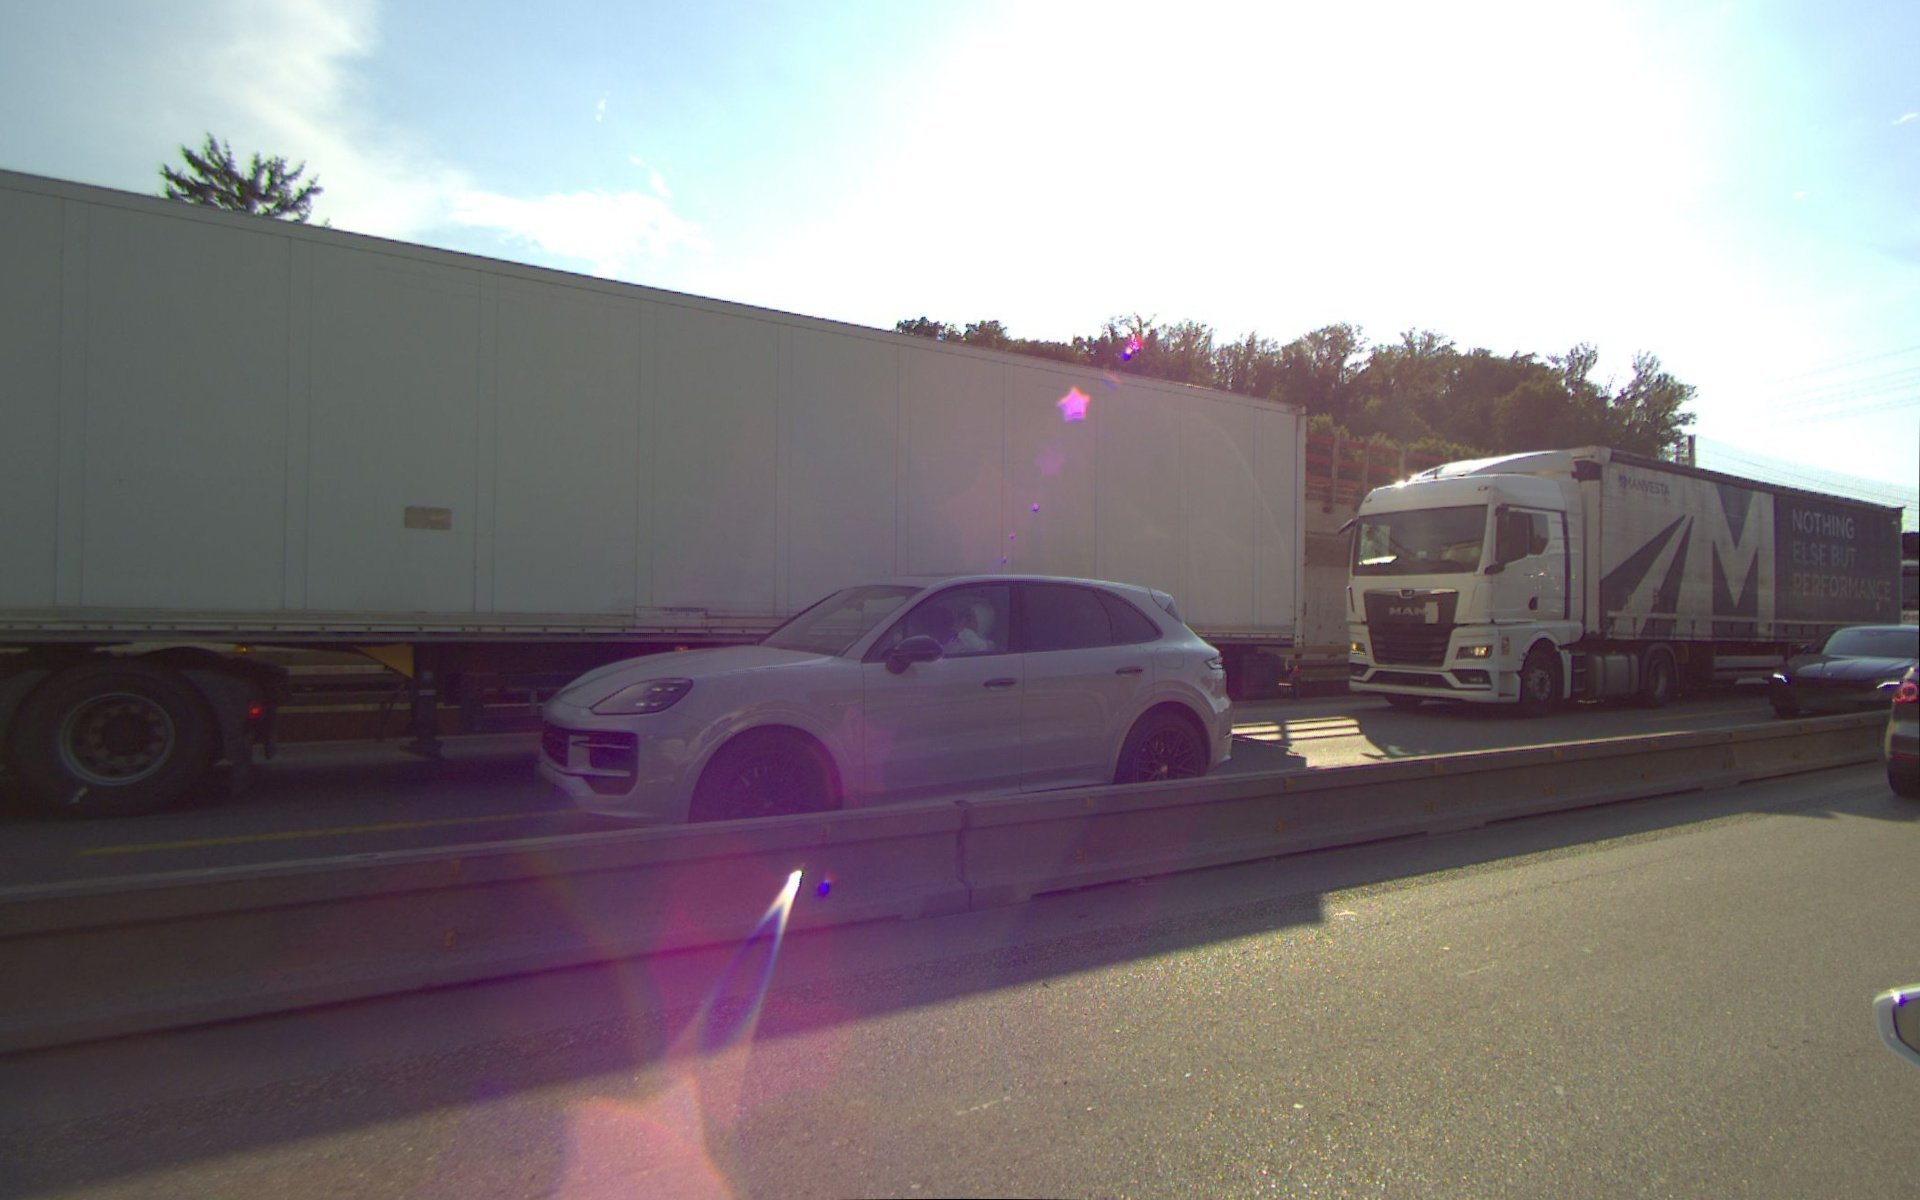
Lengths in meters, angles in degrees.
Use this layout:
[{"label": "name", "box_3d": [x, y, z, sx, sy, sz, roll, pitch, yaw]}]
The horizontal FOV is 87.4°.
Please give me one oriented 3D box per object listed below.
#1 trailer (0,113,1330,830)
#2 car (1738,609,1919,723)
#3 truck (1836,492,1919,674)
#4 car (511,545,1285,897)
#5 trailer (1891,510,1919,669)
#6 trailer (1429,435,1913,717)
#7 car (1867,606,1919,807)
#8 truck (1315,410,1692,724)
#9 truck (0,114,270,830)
[{"label": "trailer", "box_3d": [-1.977, -0.638, 9.861, 13.615, 4.377, 2.444, 2, -1, -31]}, {"label": "car", "box_3d": [14.248, 1.001, 15.681, 4.762, 1.476, 1.764, 3, 0, -32]}, {"label": "truck", "box_3d": [26.115, -0.382, 26.733, 4.973, 4.574, 2.903, 1, 0, -33]}, {"label": "car", "box_3d": [-0.276, 0.615, 6.915, 4.918, 1.677, 1.997, 2, 1, -31]}, {"label": "trailer", "box_3d": [30.675, -0.209, 29.705, 7.075, 4.525, 2.894, 1, 0, -33]}, {"label": "trailer", "box_3d": [14.741, -0.180, 20.000, 13.678, 4.259, 2.761, 2, -1, -32]}, {"label": "car", "box_3d": [9.715, 0.912, 8.707, 4.101, 1.608, 1.692, 2, -1, -32]}, {"label": "truck", "box_3d": [8.968, -0.364, 16.420, 6.046, 4.259, 2.750, 2, -1, -32]}, {"label": "truck", "box_3d": [-7.854, -0.821, 6.391, 5.410, 4.373, 2.444, 2, -1, -30]}]
